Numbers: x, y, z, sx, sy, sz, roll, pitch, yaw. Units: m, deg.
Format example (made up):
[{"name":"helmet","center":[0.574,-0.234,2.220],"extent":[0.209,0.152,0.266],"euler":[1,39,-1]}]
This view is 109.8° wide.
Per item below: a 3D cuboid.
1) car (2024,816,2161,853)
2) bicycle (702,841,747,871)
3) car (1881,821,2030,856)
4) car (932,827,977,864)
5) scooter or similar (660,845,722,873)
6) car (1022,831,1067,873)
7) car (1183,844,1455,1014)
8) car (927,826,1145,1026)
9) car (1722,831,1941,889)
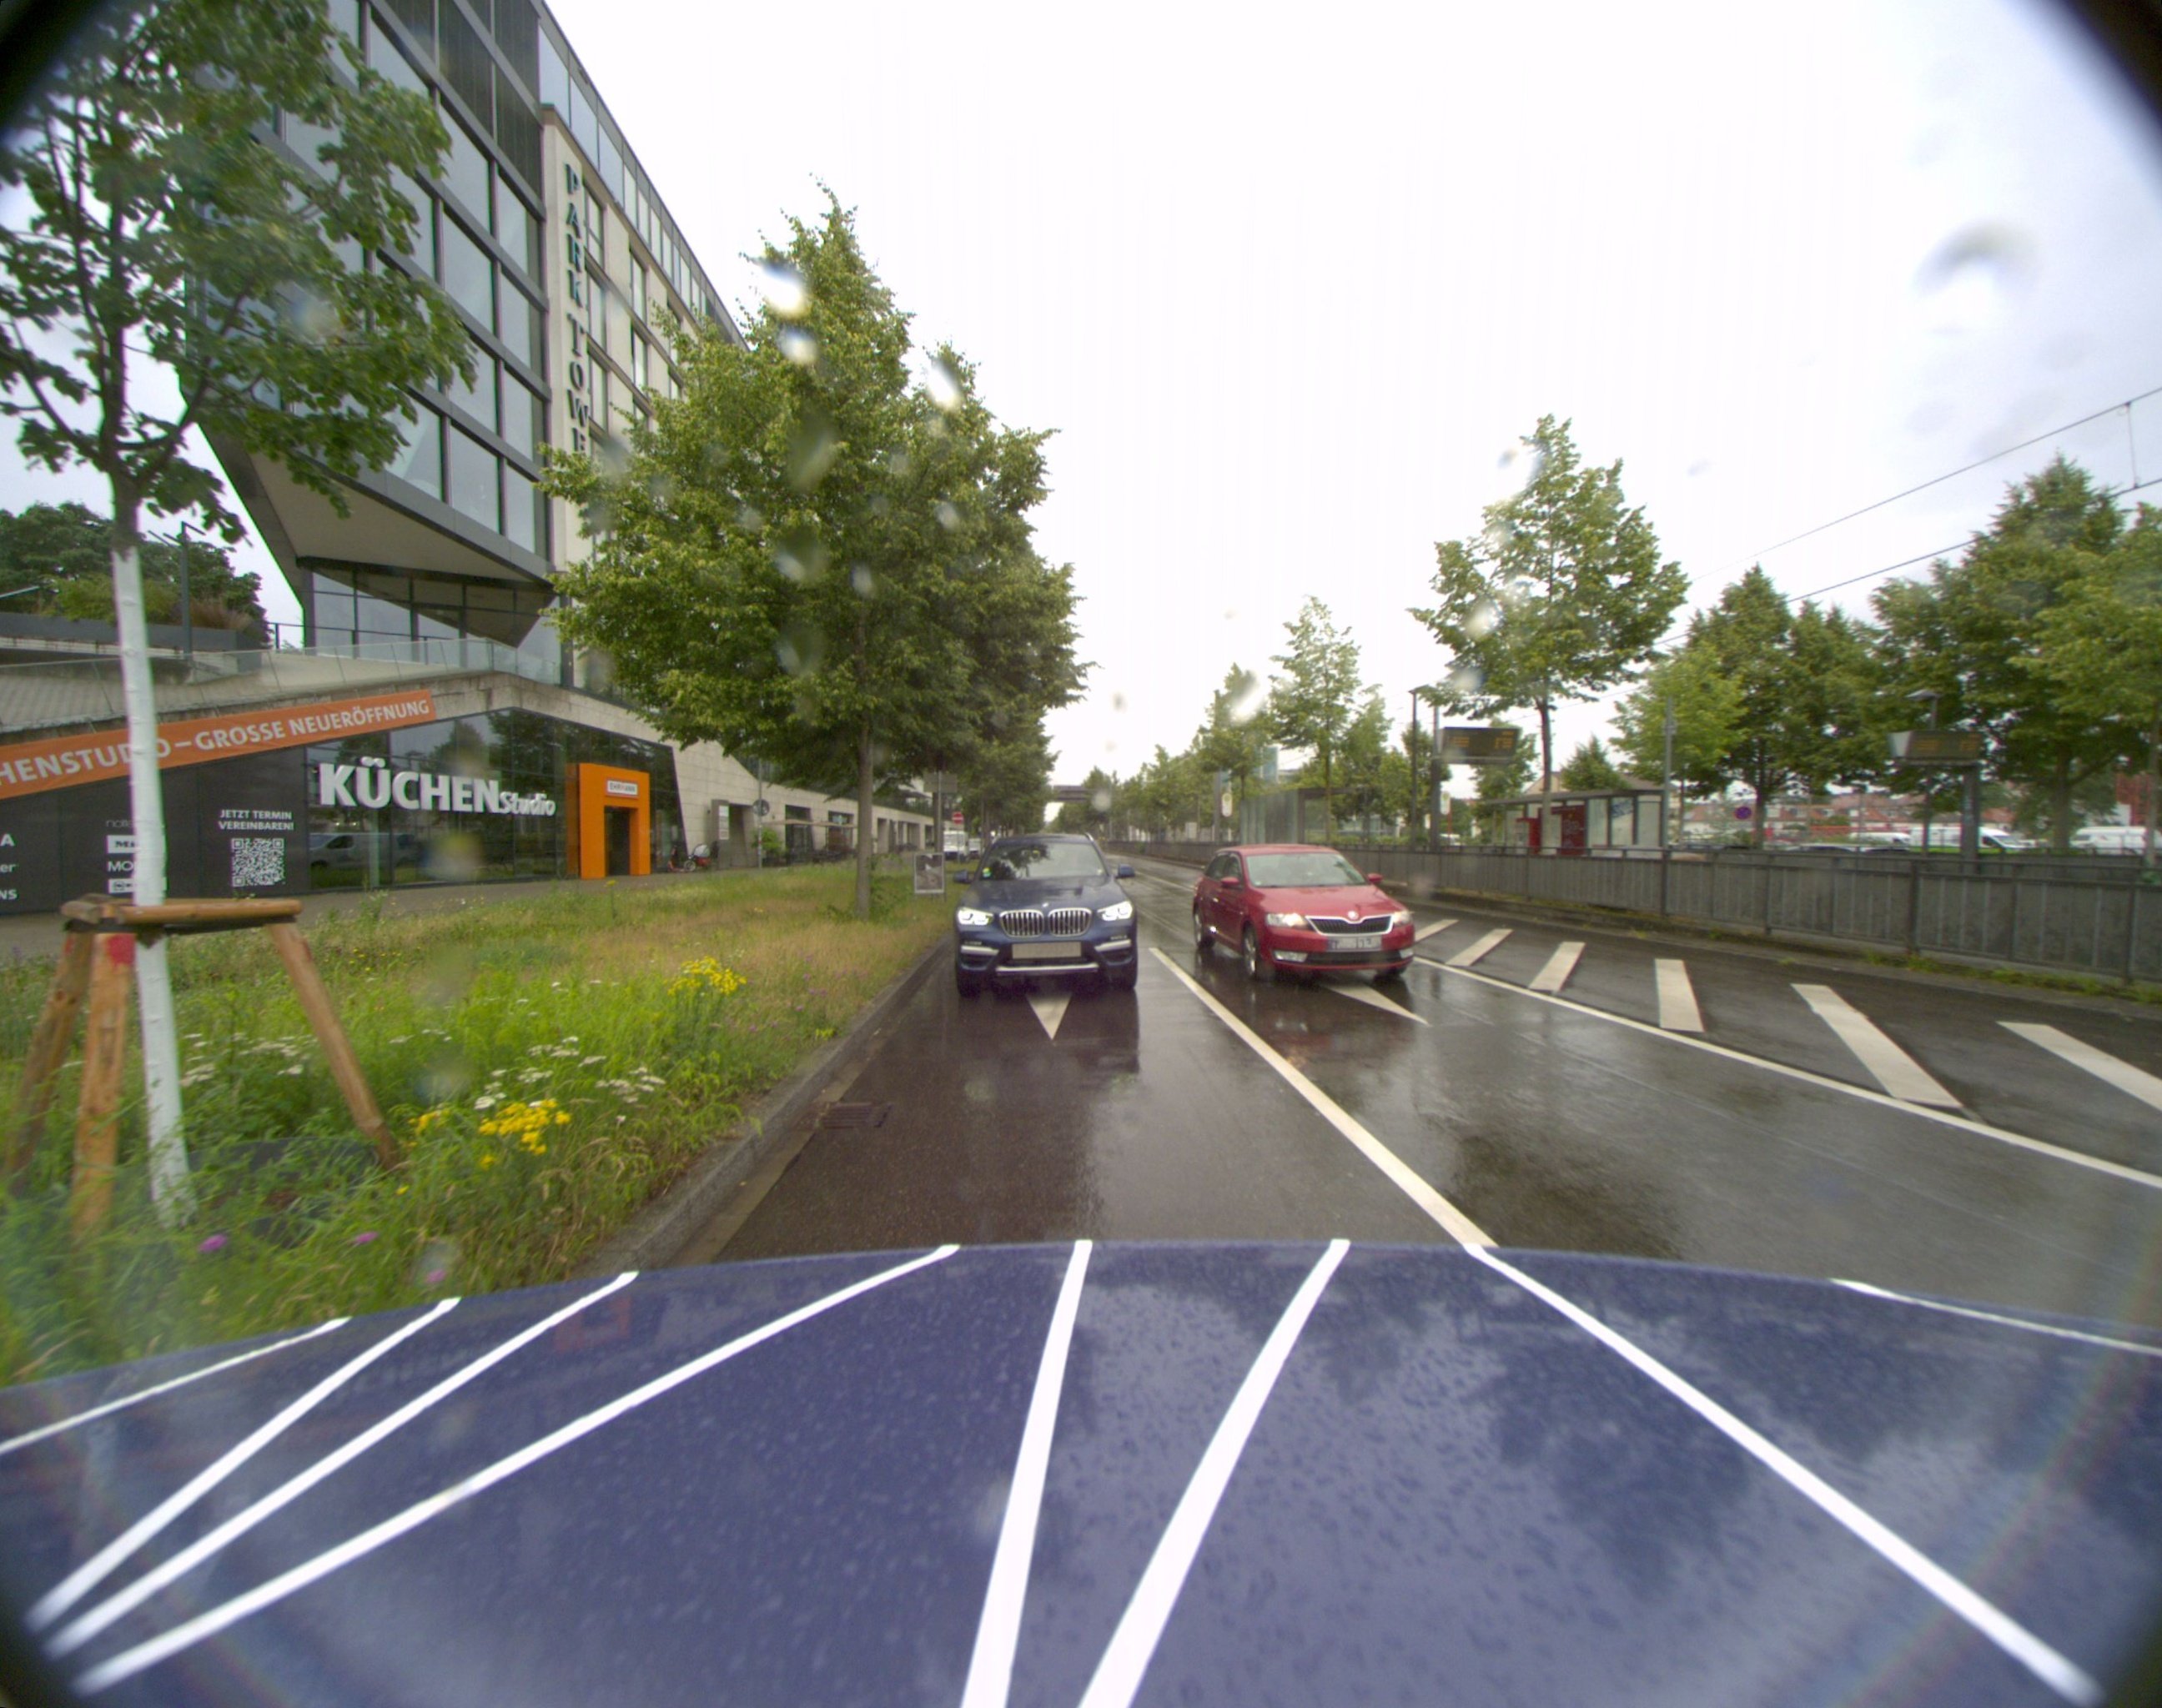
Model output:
[{"name":"car","center":[74.640,-1.410,55.608],"extent":[2.501,2.462,6.831],"euler":[-2,2,-5]},{"name":"bicycle","center":[-16.962,0.078,36.238],"extent":[0.882,1.340,2.695],"euler":[-2,2,-2]},{"name":"car","center":[67.463,-1.209,58.930],"extent":[2.356,2.462,7.633],"euler":[-2,2,-5]},{"name":"car","center":[-8.045,-0.588,48.651],"extent":[2.085,2.189,5.095],"euler":[-2,2,-2]},{"name":"scooter or similar","center":[-16.993,0.216,33.198],"extent":[0.811,1.093,2.616],"euler":[-2,2,16]},{"name":"car","center":[-1.570,-0.135,33.534],"extent":[1.788,1.638,3.998],"euler":[-2,2,-2]},{"name":"car","center":[2.519,0.671,9.225],"extent":[1.788,1.451,4.313],"euler":[-2,2,-2]},{"name":"car","center":[-0.473,0.657,9.112],"extent":[1.917,1.736,4.382],"euler":[-2,0,-2]},{"name":"car","center":[22.030,0.115,22.624],"extent":[1.830,1.478,4.624],"euler":[-2,2,-3]}]
